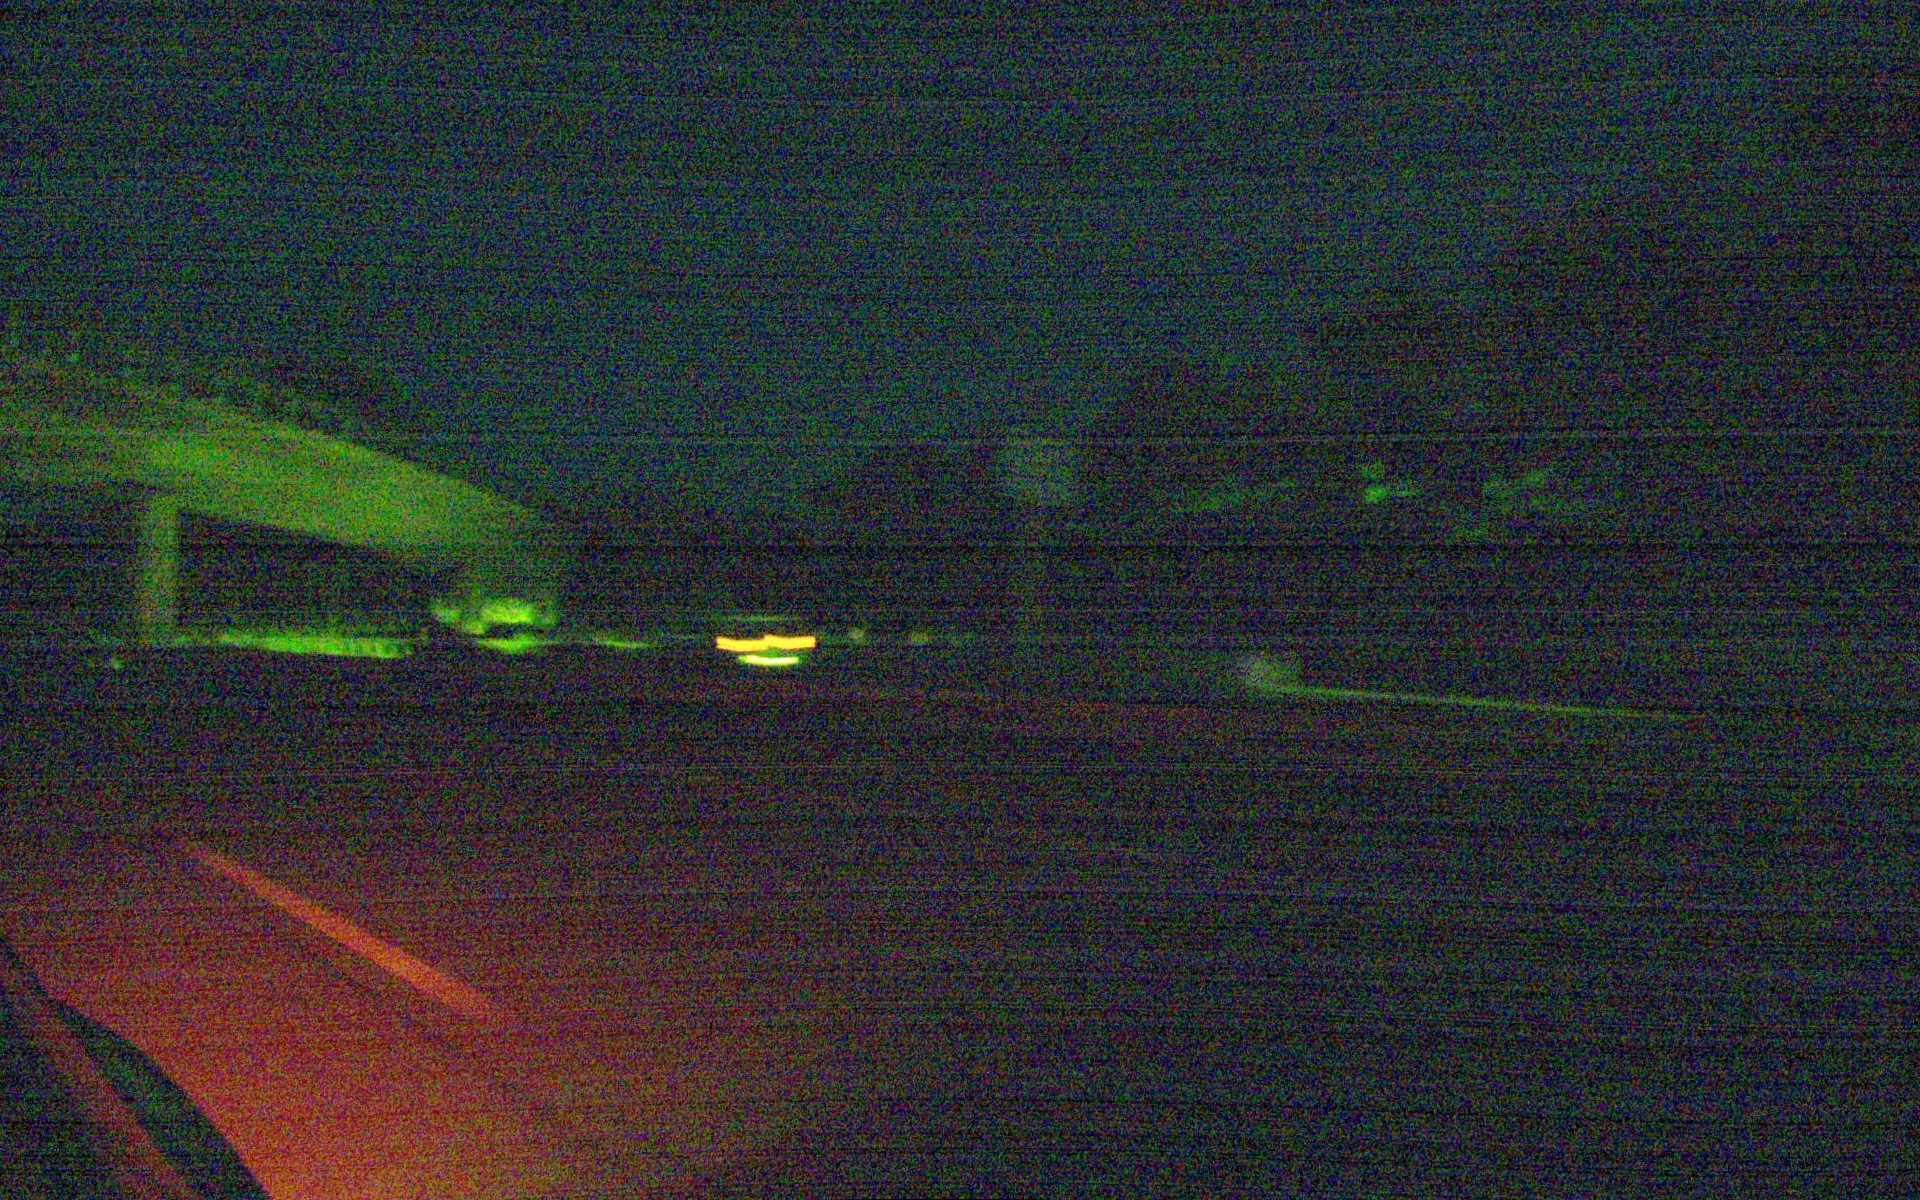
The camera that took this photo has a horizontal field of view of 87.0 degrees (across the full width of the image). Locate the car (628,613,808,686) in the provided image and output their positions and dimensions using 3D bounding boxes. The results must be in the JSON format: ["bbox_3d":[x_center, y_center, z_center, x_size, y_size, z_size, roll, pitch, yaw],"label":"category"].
[{"bbox_3d":[-6.101,1.169,25.333,4.527,1.670,1.975,-1,-2,37],"label":"car"}]
